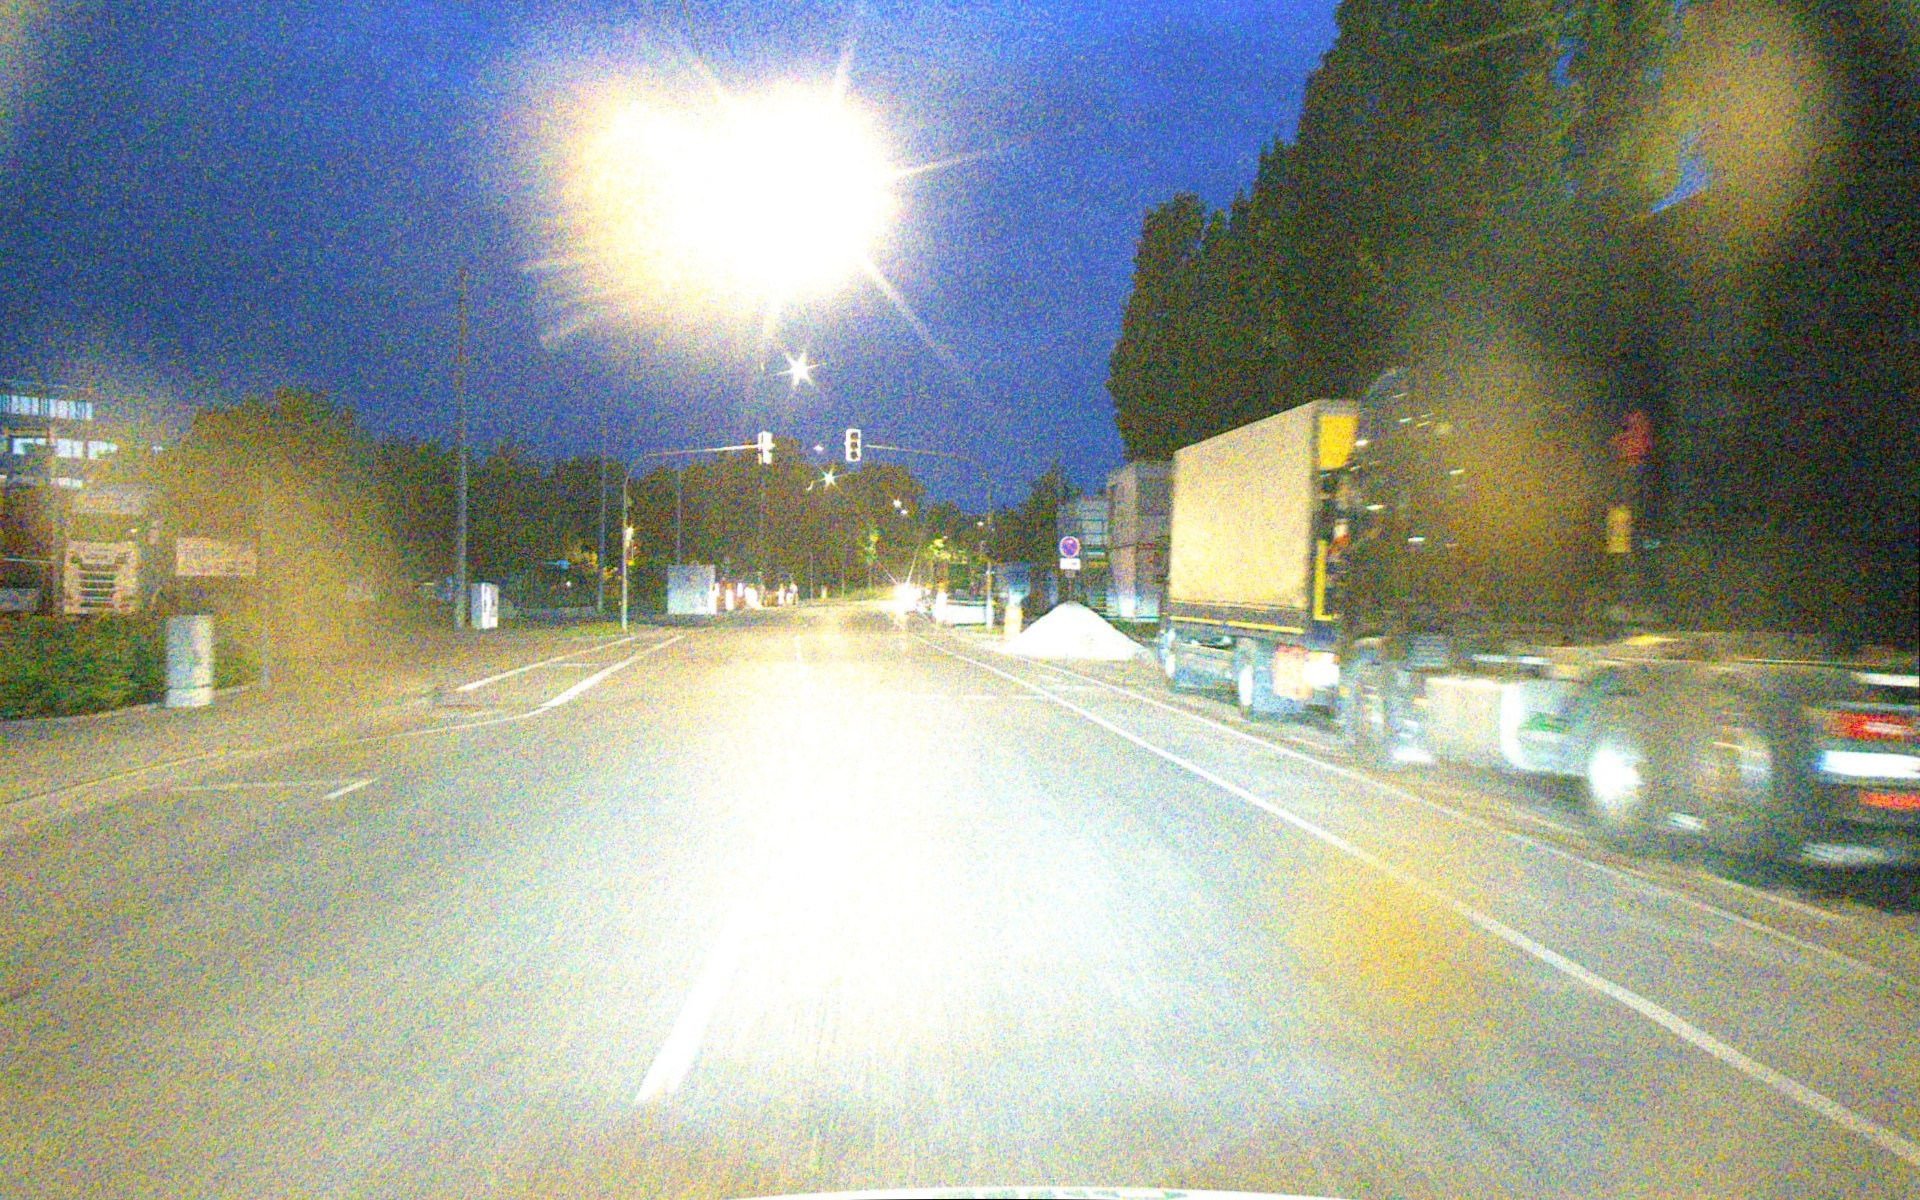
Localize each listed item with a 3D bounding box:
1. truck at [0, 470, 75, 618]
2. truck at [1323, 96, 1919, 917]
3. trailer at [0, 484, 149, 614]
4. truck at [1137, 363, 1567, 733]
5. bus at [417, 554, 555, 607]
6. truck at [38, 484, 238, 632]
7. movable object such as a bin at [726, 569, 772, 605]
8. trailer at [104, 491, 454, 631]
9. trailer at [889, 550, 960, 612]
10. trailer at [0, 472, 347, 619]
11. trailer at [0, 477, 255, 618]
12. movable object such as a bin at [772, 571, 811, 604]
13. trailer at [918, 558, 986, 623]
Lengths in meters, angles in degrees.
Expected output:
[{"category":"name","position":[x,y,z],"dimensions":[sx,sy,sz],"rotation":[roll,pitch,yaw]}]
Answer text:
[{"category":"truck","position":[-28.871,-1.647,47.907],"dimensions":[2.994,4.221,4.938],"rotation":[2,0,18]},{"category":"truck","position":[5.354,-0.449,12.414],"dimensions":[2.701,3.849,9.130],"rotation":[0,0,-4]},{"category":"trailer","position":[-34.418,-1.797,56.073],"dimensions":[2.993,4.433,15.012],"rotation":[2,0,16]},{"category":"truck","position":[4.664,-0.555,22.396],"dimensions":[2.701,3.849,10.216],"rotation":[0,0,-4]},{"category":"bus","position":[-31.018,-1.300,109.036],"dimensions":[2.948,3.260,12.684],"rotation":[0,1,13]},{"category":"truck","position":[-23.689,-1.167,47.907],"dimensions":[2.993,4.001,4.507],"rotation":[2,0,11]},{"category":"movable object such as a bin","position":[-14.525,-0.900,114.169],"dimensions":[1.951,2.418,4.706],"rotation":[0,1,8]},{"category":"trailer","position":[-22.162,-1.149,55.632],"dimensions":[2.993,4.001,15.016],"rotation":[2,0,11]},{"category":"trailer","position":[-2.038,-1.020,92.421],"dimensions":[3.416,3.275,4.857],"rotation":[2,-1,-8]},{"category":"trailer","position":[-26.616,-1.583,54.980],"dimensions":[2.994,4.221,15.009],"rotation":[2,0,18]},{"category":"trailer","position":[-30.426,-1.683,56.098],"dimensions":[2.994,4.433,15.011],"rotation":[2,0,16]},{"category":"movable object such as a bin","position":[-12.896,-0.958,126.912],"dimensions":[1.951,2.418,4.706],"rotation":[0,0,8]},{"category":"trailer","position":[-0.418,-0.430,77.672],"dimensions":[2.564,2.895,4.701],"rotation":[2,-1,-7]}]
